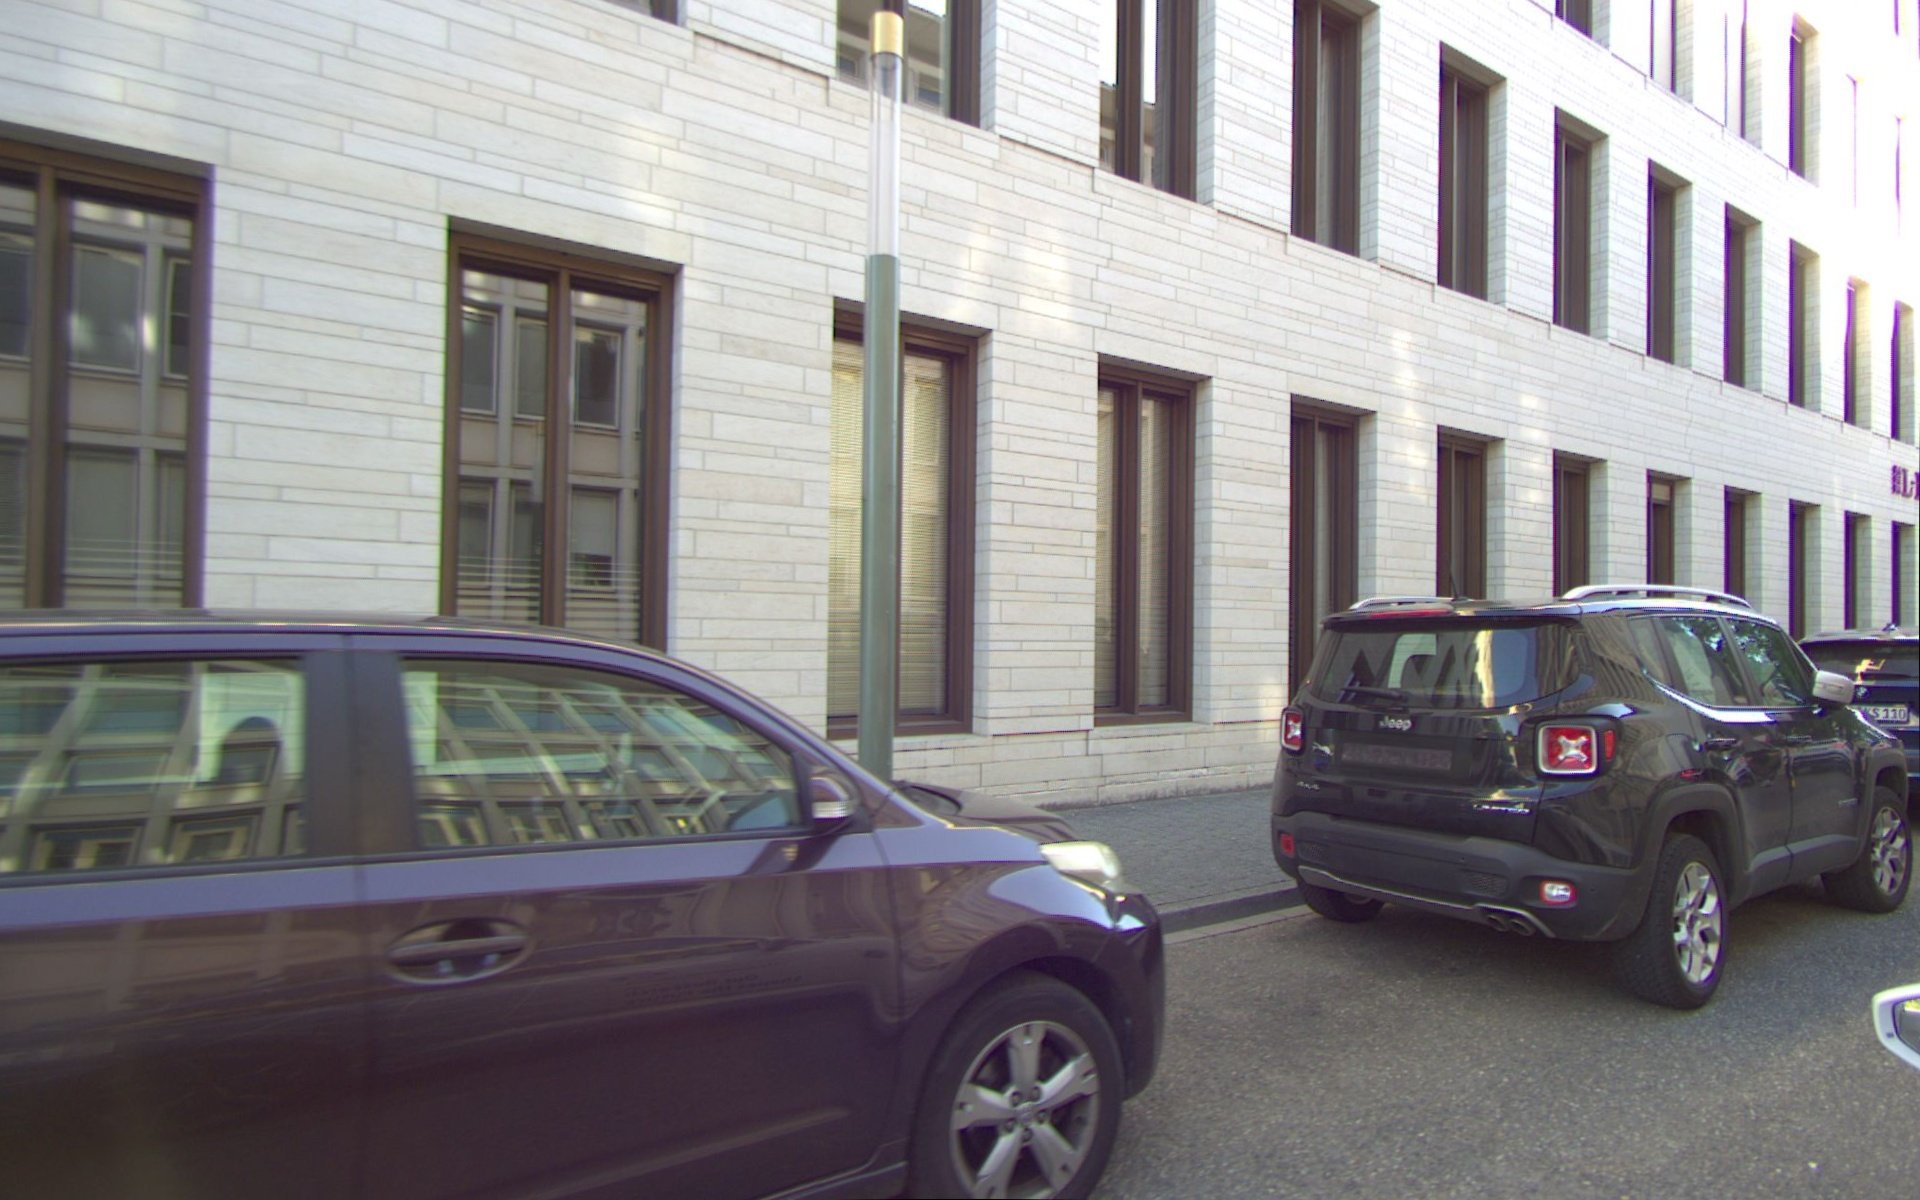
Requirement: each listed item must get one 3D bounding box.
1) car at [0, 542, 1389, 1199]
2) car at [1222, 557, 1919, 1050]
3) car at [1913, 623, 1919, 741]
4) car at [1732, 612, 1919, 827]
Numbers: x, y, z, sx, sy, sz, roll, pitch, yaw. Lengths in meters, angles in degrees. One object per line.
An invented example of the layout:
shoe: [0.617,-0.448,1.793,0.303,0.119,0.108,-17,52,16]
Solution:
car: [-0.912,0.737,2.709,4.218,1.562,1.812,1,-1,-33]
car: [3.488,0.800,5.428,3.975,1.737,1.812,1,-4,-33]
car: [13.425,1.116,12.097,4.217,1.699,1.813,1,-4,-33]
car: [8.768,0.956,8.943,4.110,1.615,1.730,1,-4,-33]
